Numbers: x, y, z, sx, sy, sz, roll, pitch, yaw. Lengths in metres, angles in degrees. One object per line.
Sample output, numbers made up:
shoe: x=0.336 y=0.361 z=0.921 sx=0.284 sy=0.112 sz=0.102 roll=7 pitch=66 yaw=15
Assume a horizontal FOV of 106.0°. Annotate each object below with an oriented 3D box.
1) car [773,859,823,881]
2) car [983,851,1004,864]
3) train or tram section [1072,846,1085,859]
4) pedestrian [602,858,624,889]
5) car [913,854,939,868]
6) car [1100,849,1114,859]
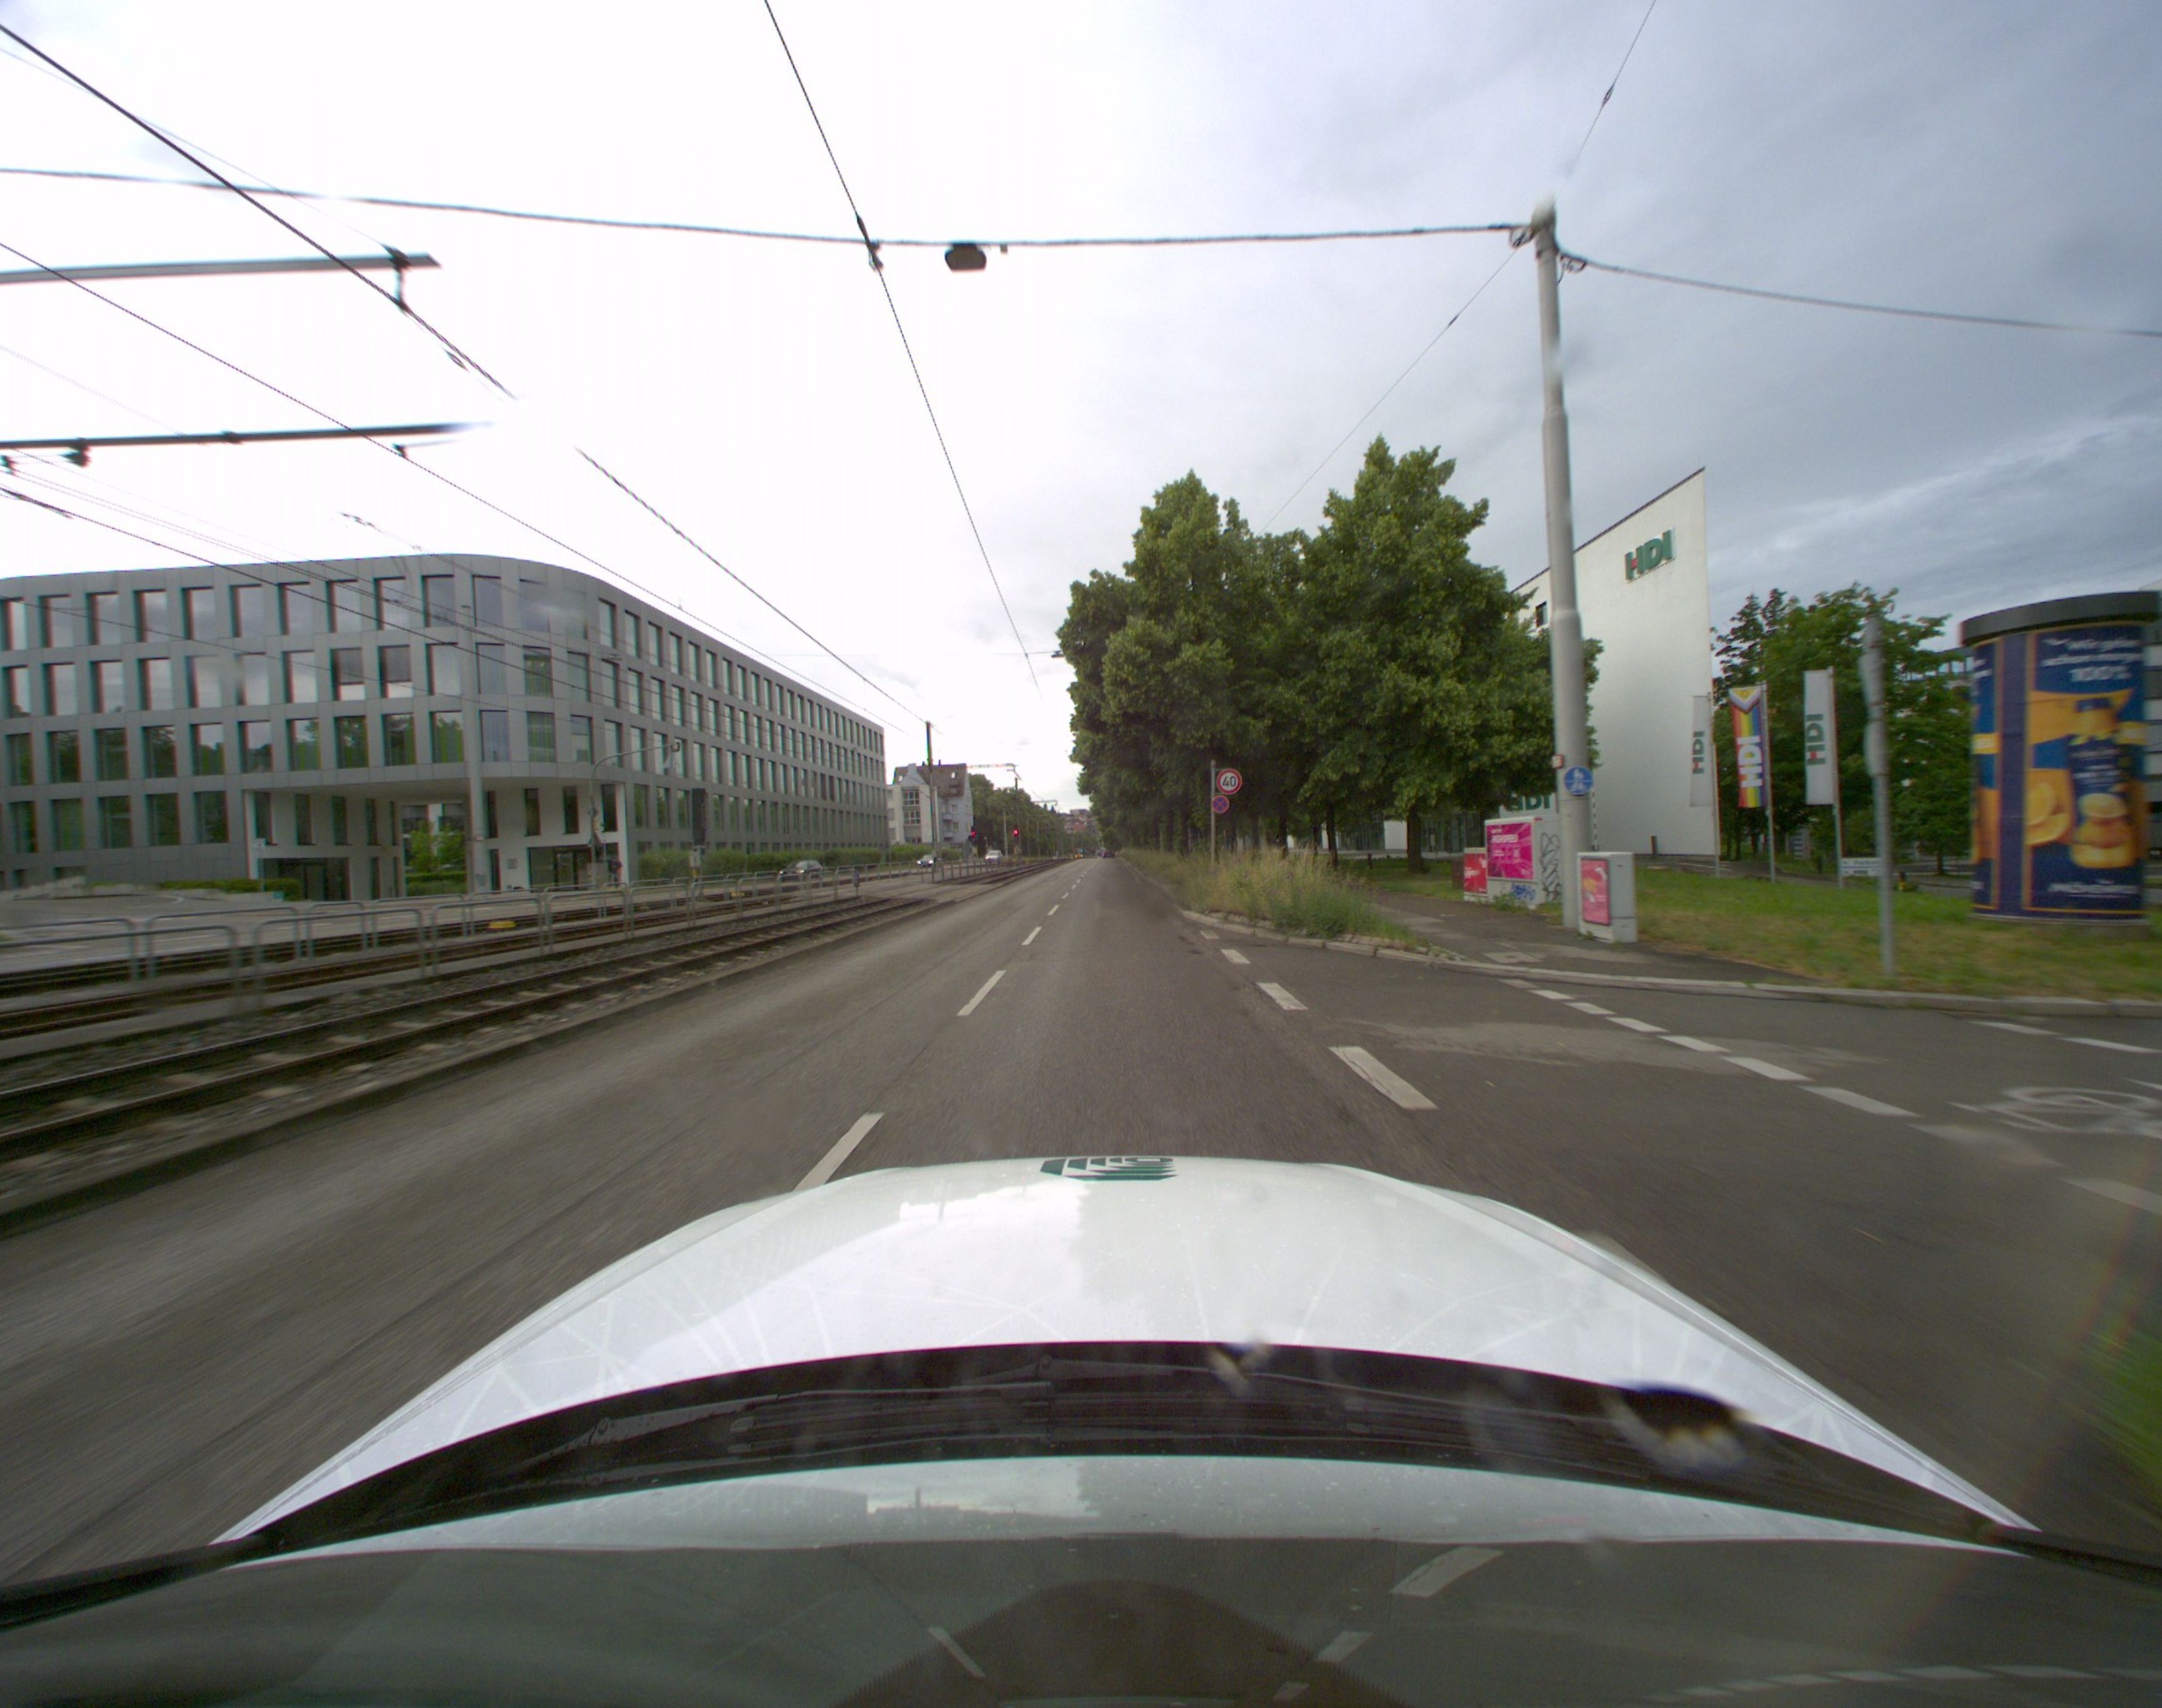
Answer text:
car: x=-18.671 y=1.042 z=53.977 sx=1.749 sy=1.244 sz=3.990 roll=-3 pitch=0 yaw=2
car: x=-11.833 y=0.494 z=110.290 sx=1.894 sy=1.644 sz=4.888 roll=-3 pitch=0 yaw=3
train or tram section: x=-0.866 y=-0.335 z=264.850 sx=3.201 sy=3.796 sz=14.802 roll=-3 pitch=-1 yaw=3
pedestrian: x=-26.030 y=1.073 z=45.299 sx=0.721 sy=1.648 sz=0.846 roll=-1 pitch=0 yaw=2
car: x=-16.722 y=0.716 z=87.987 sx=1.791 sy=1.347 sz=4.261 roll=-3 pitch=0 yaw=2
car: x=3.974 y=0.022 z=122.301 sx=1.974 sy=1.440 sz=4.476 roll=-3 pitch=0 yaw=2
